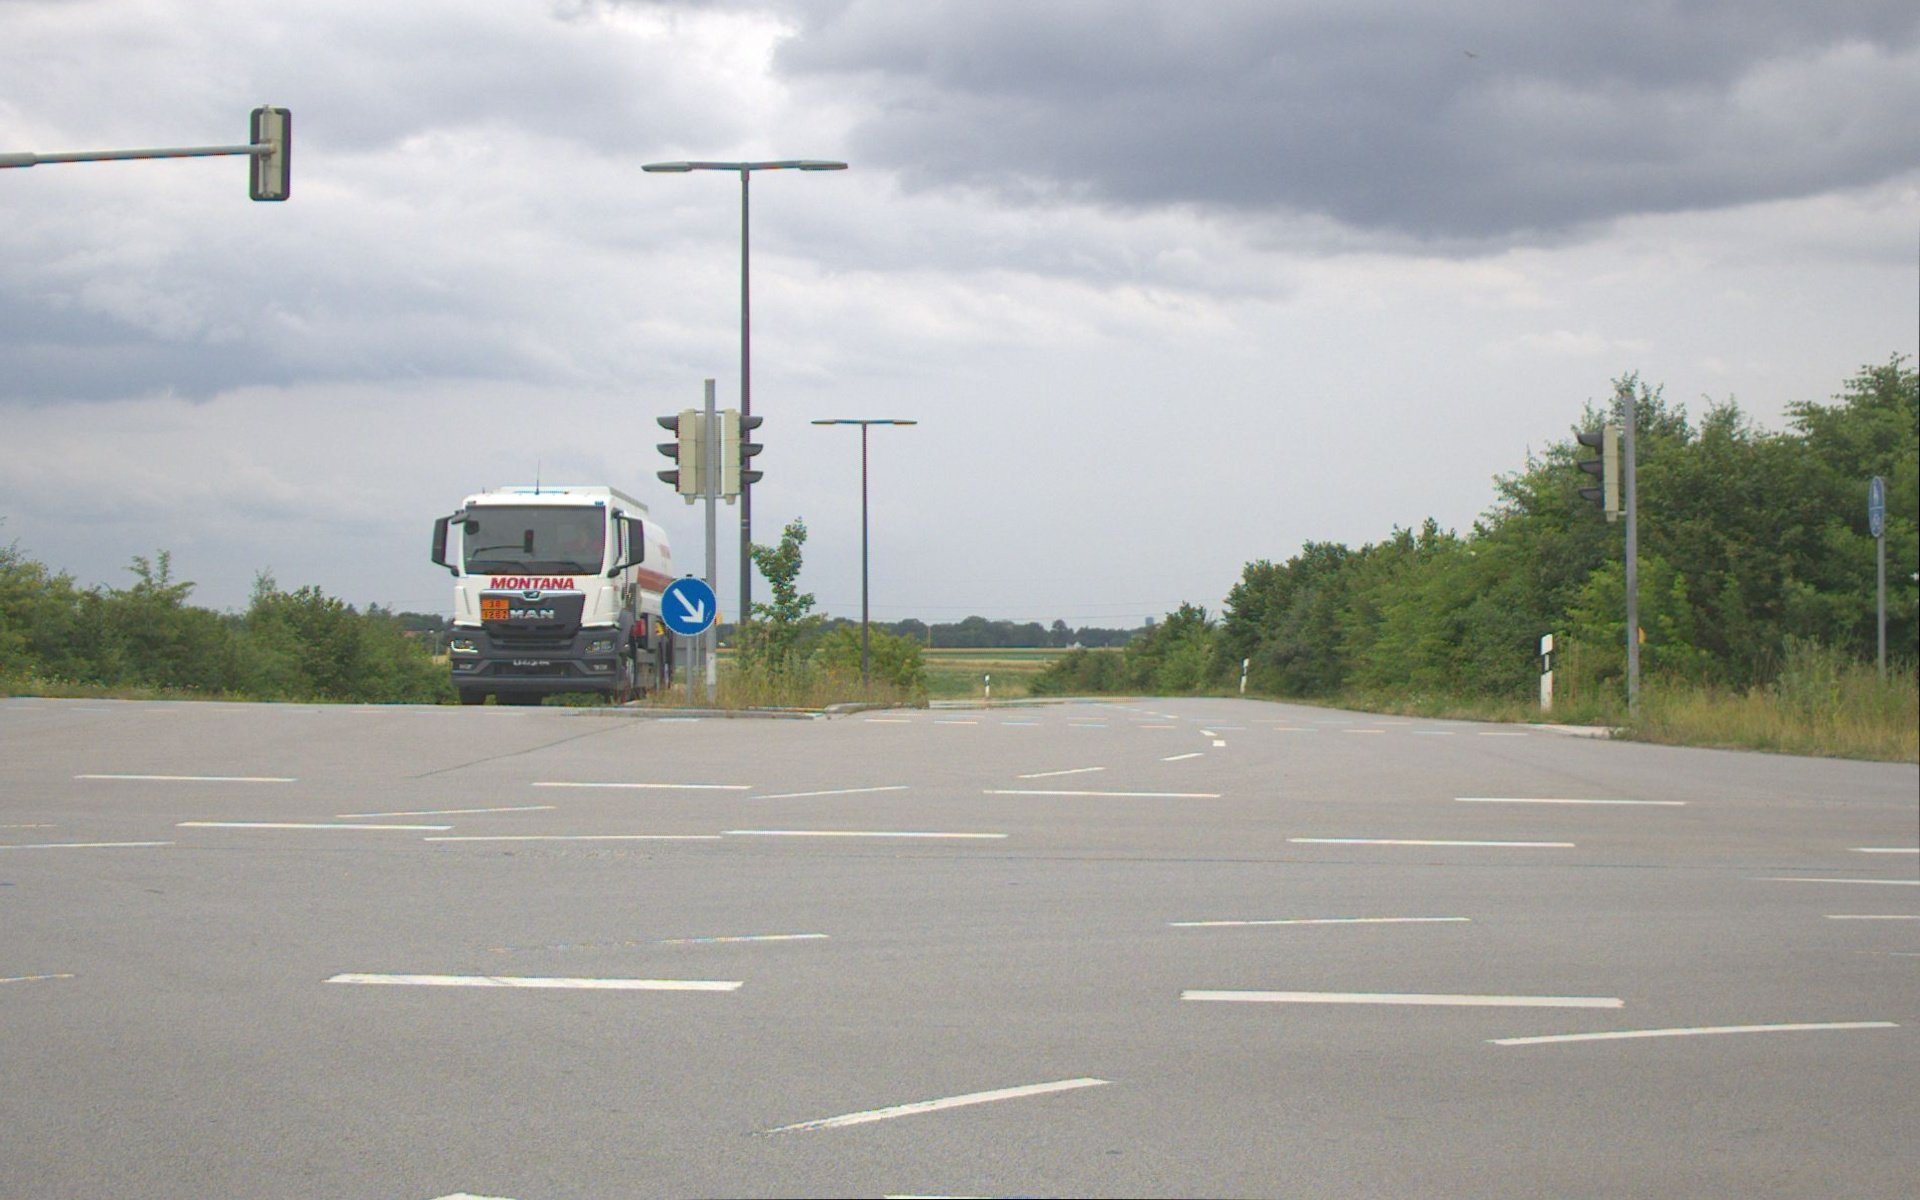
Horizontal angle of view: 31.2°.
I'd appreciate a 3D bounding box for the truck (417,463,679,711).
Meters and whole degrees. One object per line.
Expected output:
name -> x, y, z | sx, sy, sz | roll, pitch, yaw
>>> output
truck -> -6.014, -0.086, 51.508 | 2.869, 3.397, 8.650 | 0, -1, 0
